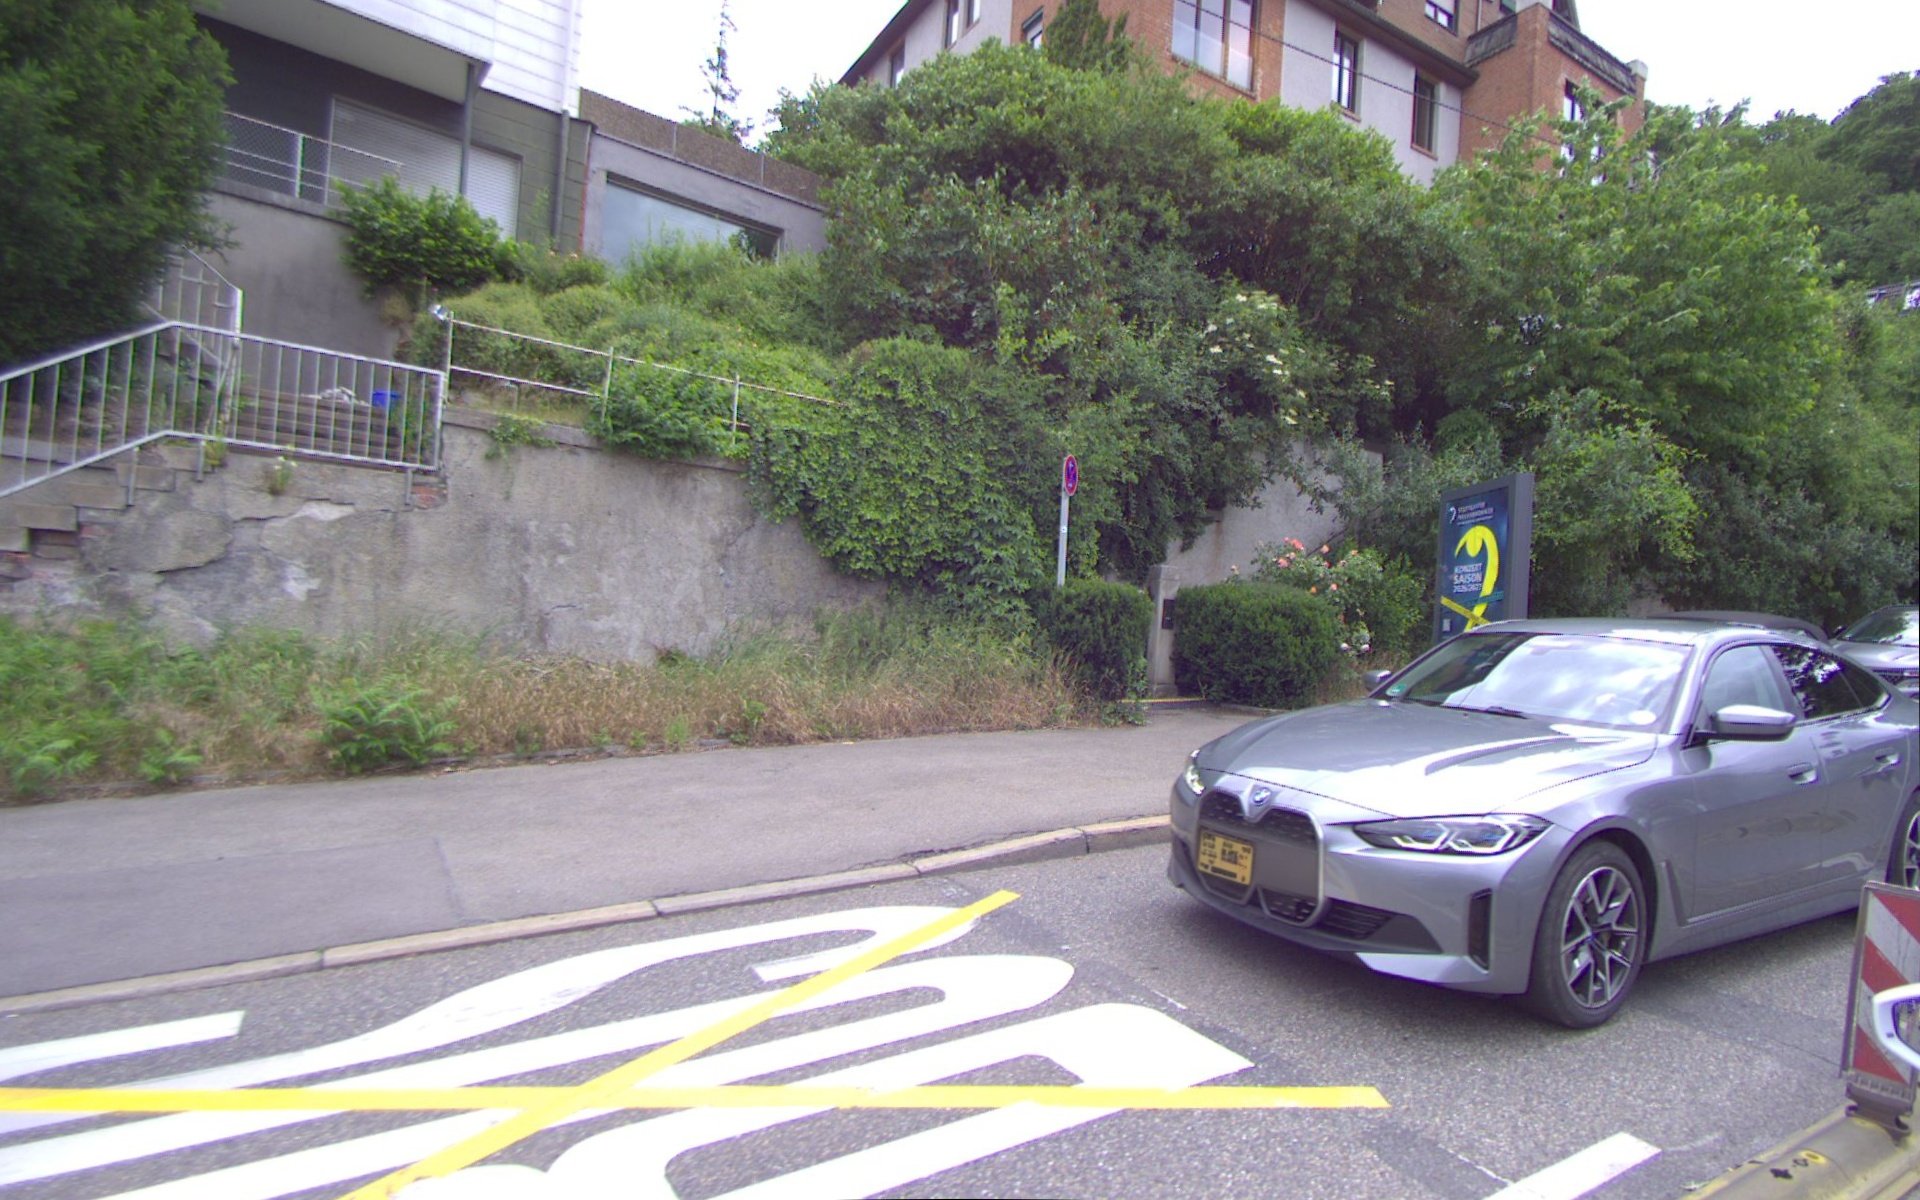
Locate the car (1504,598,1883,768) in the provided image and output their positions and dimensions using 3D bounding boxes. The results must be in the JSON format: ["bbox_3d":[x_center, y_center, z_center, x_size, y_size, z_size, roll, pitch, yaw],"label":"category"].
[{"bbox_3d":[8.161,0.819,11.153,3.949,1.530,1.787,1,2,-28],"label":"car"}]

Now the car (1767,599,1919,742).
[{"bbox_3d":[13.007,0.884,13.439,4.128,1.627,1.682,1,2,-24],"label":"car"}]

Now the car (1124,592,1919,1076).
[{"bbox_3d":[3.086,0.793,5.011,4.276,1.502,1.787,2,1,-29],"label":"car"}]
